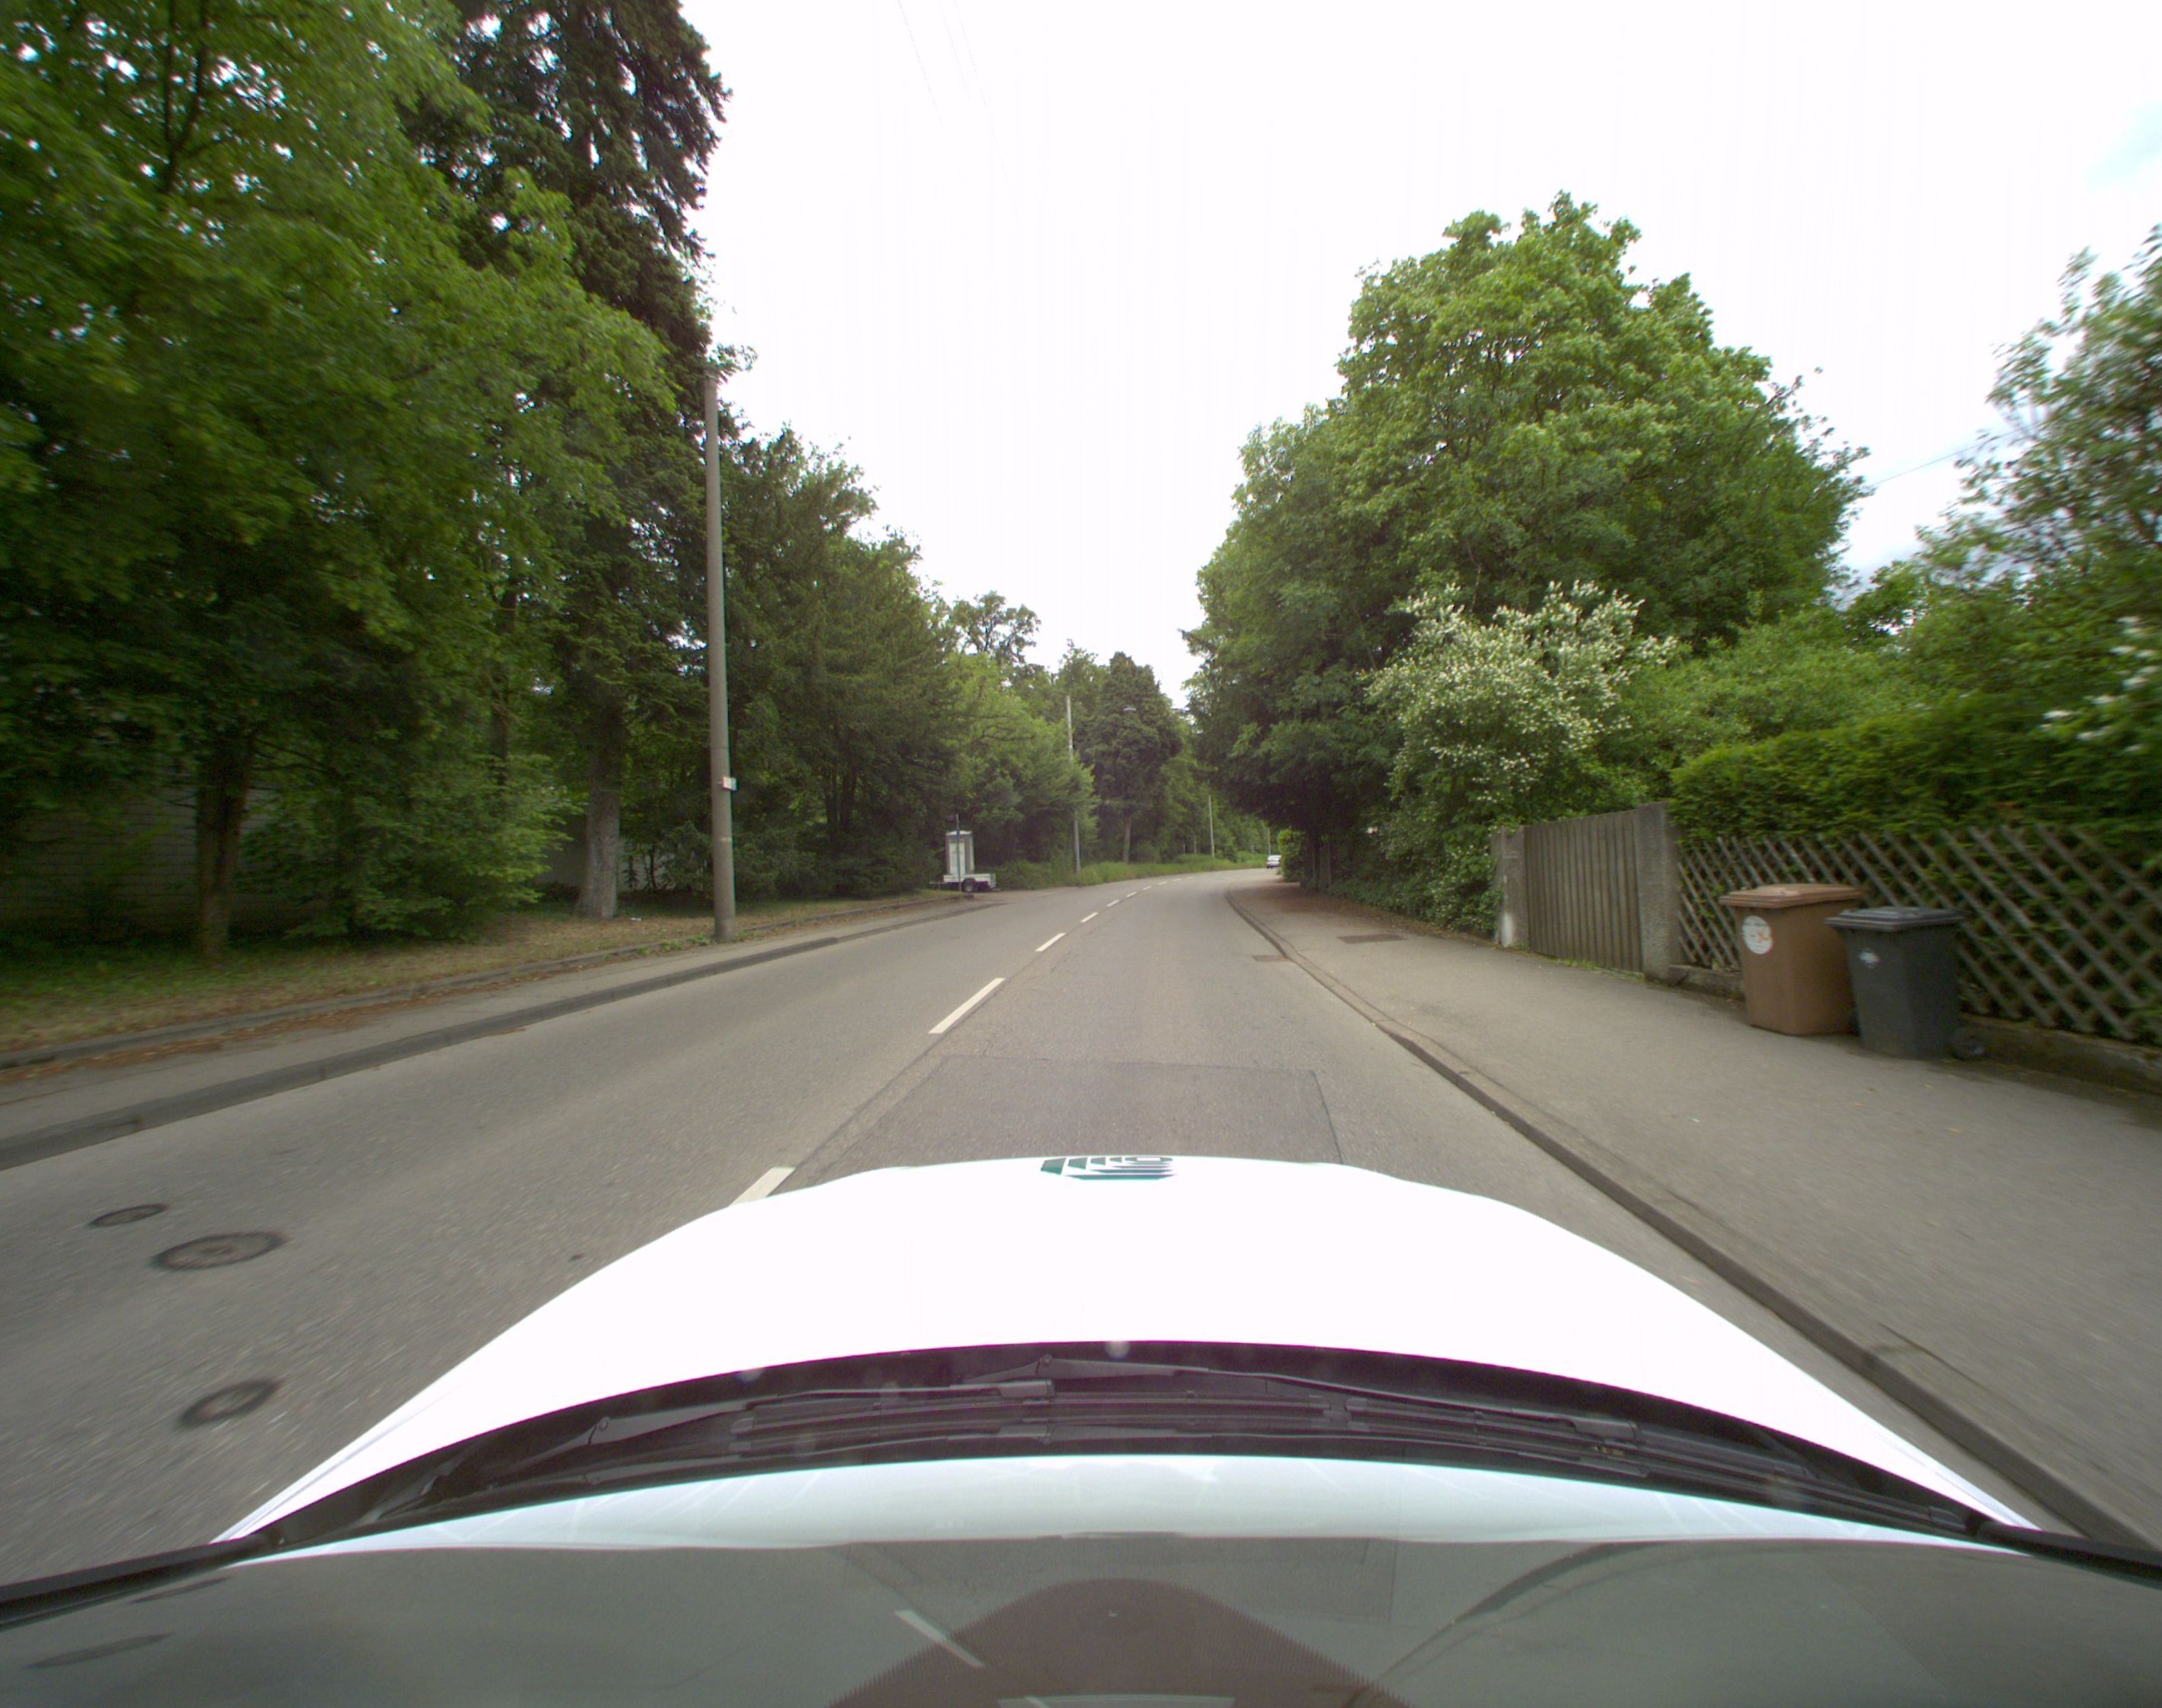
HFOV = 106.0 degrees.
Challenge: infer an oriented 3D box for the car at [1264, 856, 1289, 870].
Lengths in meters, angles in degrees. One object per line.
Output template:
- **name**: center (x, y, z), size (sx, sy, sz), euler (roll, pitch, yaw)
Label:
- **car**: center (21.278, 0.983, 88.490), size (1.976, 1.486, 4.022), euler (-2, -1, 24)

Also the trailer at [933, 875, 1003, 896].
- **trailer**: center (-5.047, 1.402, 36.579), size (2.947, 0.829, 1.474), euler (-2, -1, -2)
